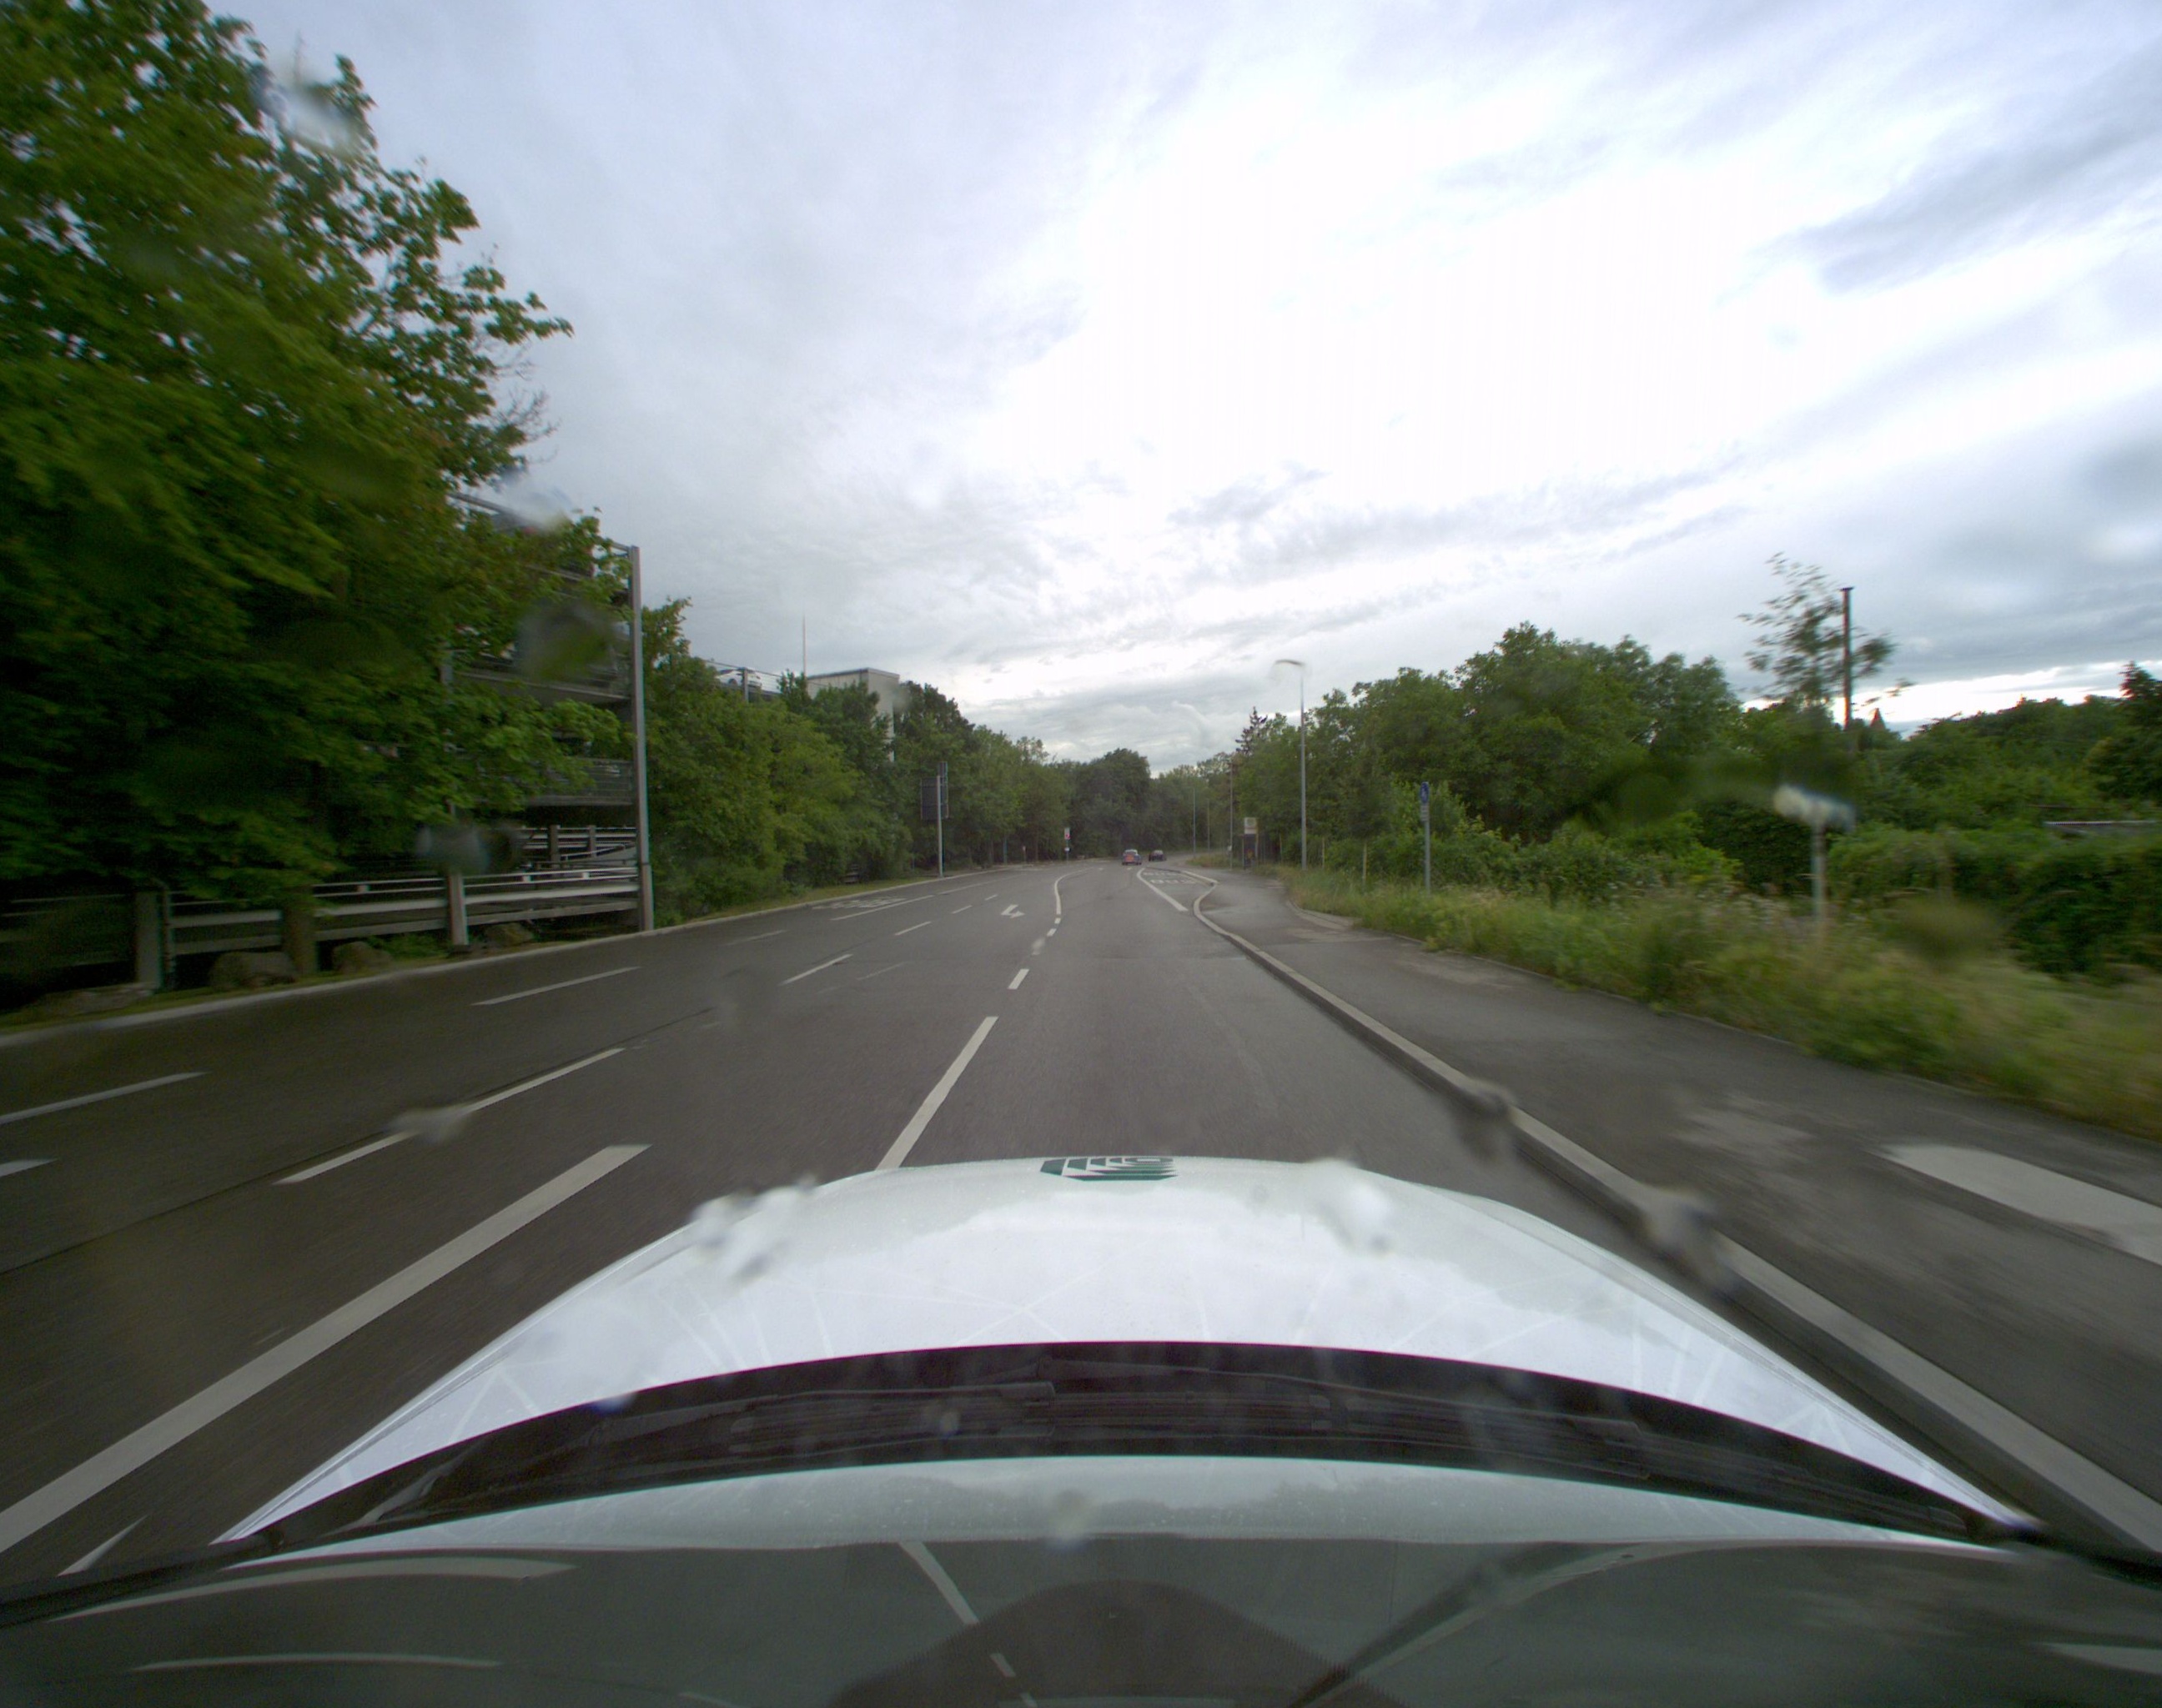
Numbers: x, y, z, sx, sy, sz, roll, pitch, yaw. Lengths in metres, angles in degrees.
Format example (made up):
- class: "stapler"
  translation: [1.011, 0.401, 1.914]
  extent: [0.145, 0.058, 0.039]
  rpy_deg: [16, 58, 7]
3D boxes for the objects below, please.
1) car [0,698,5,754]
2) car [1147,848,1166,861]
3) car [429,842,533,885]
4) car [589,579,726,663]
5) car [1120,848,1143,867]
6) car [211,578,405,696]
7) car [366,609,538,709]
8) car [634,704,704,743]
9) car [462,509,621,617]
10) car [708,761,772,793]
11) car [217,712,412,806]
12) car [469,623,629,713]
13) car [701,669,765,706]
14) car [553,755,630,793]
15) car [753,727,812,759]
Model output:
- class: "car"
  translation: [-32.456, -3.523, 22.870]
  extent: [3.949, 1.519, 2.012]
  rpy_deg: [-3, 0, 27]
- class: "car"
  translation: [9.720, 0.086, 104.812]
  extent: [1.914, 1.486, 3.813]
  rpy_deg: [-2, 2, 13]
- class: "car"
  translation: [-22.622, 0.372, 30.707]
  extent: [3.432, 1.519, 1.595]
  rpy_deg: [-1, 0, 23]
- class: "car"
  translation: [-13.506, -7.314, 25.938]
  extent: [3.949, 1.519, 2.013]
  rpy_deg: [-3, 0, 30]
- class: "car"
  translation: [5.290, 0.350, 84.822]
  extent: [1.982, 1.689, 4.011]
  rpy_deg: [-2, 2, 9]
- class: "car"
  translation: [-17.080, -4.656, 17.989]
  extent: [3.949, 1.519, 2.013]
  rpy_deg: [-3, 0, 30]
- class: "car"
  translation: [-15.810, -4.779, 20.461]
  extent: [3.949, 1.519, 2.013]
  rpy_deg: [-3, 0, 30]
- class: "car"
  translation: [-22.132, -6.977, 43.763]
  extent: [3.204, 1.519, 1.595]
  rpy_deg: [-3, 0, 23]
- class: "car"
  translation: [-14.791, -7.860, 22.321]
  extent: [3.949, 1.519, 2.013]
  rpy_deg: [-3, 0, 30]
- class: "car"
  translation: [-19.978, -4.488, 47.709]
  extent: [3.204, 1.519, 1.595]
  rpy_deg: [-3, 0, 23]
- class: "car"
  translation: [-16.820, -1.977, 17.863]
  extent: [3.949, 1.519, 2.013]
  rpy_deg: [-3, 0, 30]
- class: "car"
  translation: [-14.551, -4.990, 22.257]
  extent: [3.949, 1.519, 2.013]
  rpy_deg: [-3, 0, 30]
- class: "car"
  translation: [-20.340, -9.722, 47.590]
  extent: [3.204, 1.519, 1.595]
  rpy_deg: [-3, 0, 23]
- class: "car"
  translation: [-23.902, -3.873, 39.784]
  extent: [3.204, 1.519, 1.595]
  rpy_deg: [-3, 0, 23]
- class: "car"
  translation: [-18.732, -6.949, 51.121]
  extent: [3.204, 1.519, 1.595]
  rpy_deg: [-3, 0, 23]
